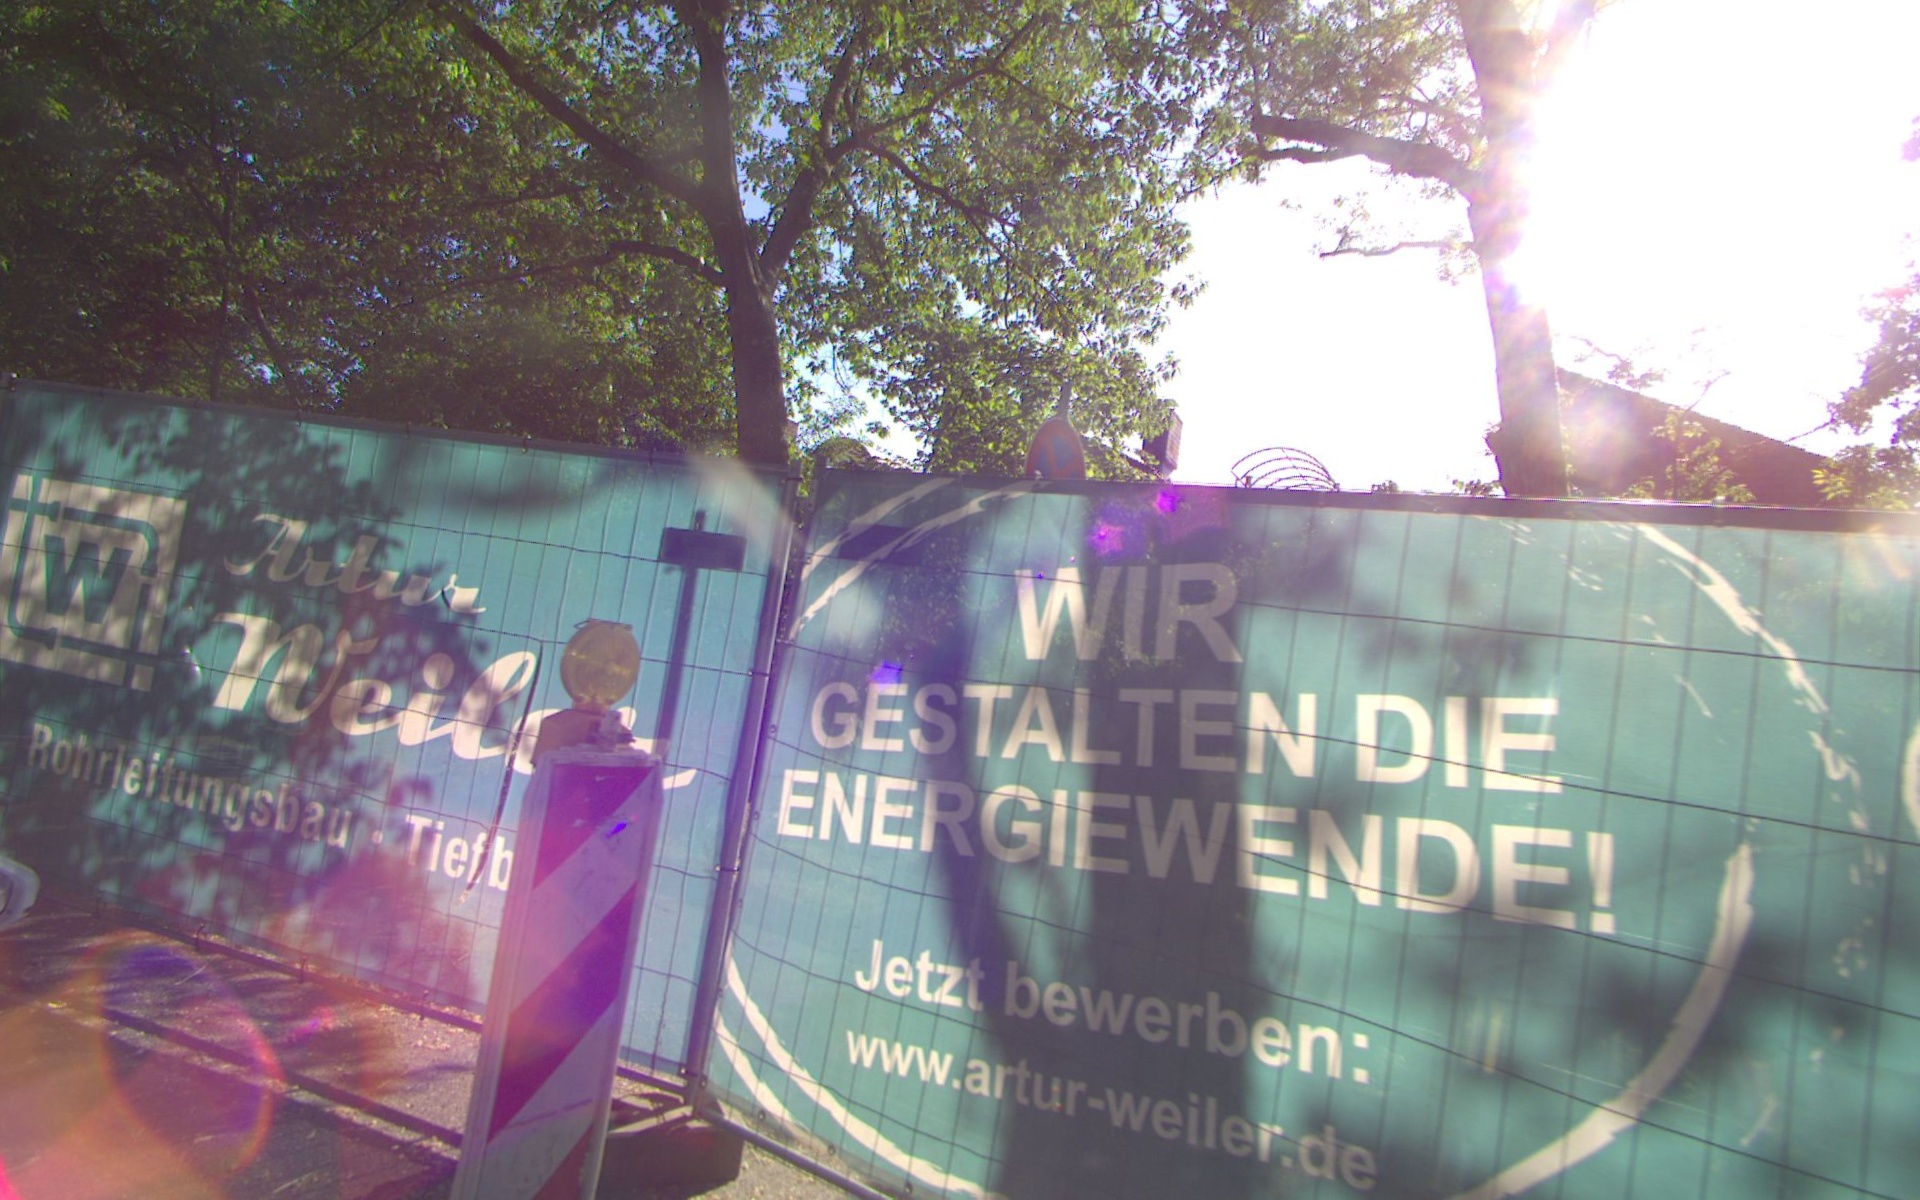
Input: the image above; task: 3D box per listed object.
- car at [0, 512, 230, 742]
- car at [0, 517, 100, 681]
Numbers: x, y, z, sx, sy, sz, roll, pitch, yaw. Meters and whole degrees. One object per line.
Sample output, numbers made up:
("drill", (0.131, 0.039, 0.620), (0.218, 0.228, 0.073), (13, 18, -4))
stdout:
("car", (-7.385, 0.125, 8.039), (2.633, 1.525, 1.498), (7, -4, 33))
("car", (-11.077, -0.273, 10.466), (4.078, 1.525, 1.719), (7, -4, 28))
